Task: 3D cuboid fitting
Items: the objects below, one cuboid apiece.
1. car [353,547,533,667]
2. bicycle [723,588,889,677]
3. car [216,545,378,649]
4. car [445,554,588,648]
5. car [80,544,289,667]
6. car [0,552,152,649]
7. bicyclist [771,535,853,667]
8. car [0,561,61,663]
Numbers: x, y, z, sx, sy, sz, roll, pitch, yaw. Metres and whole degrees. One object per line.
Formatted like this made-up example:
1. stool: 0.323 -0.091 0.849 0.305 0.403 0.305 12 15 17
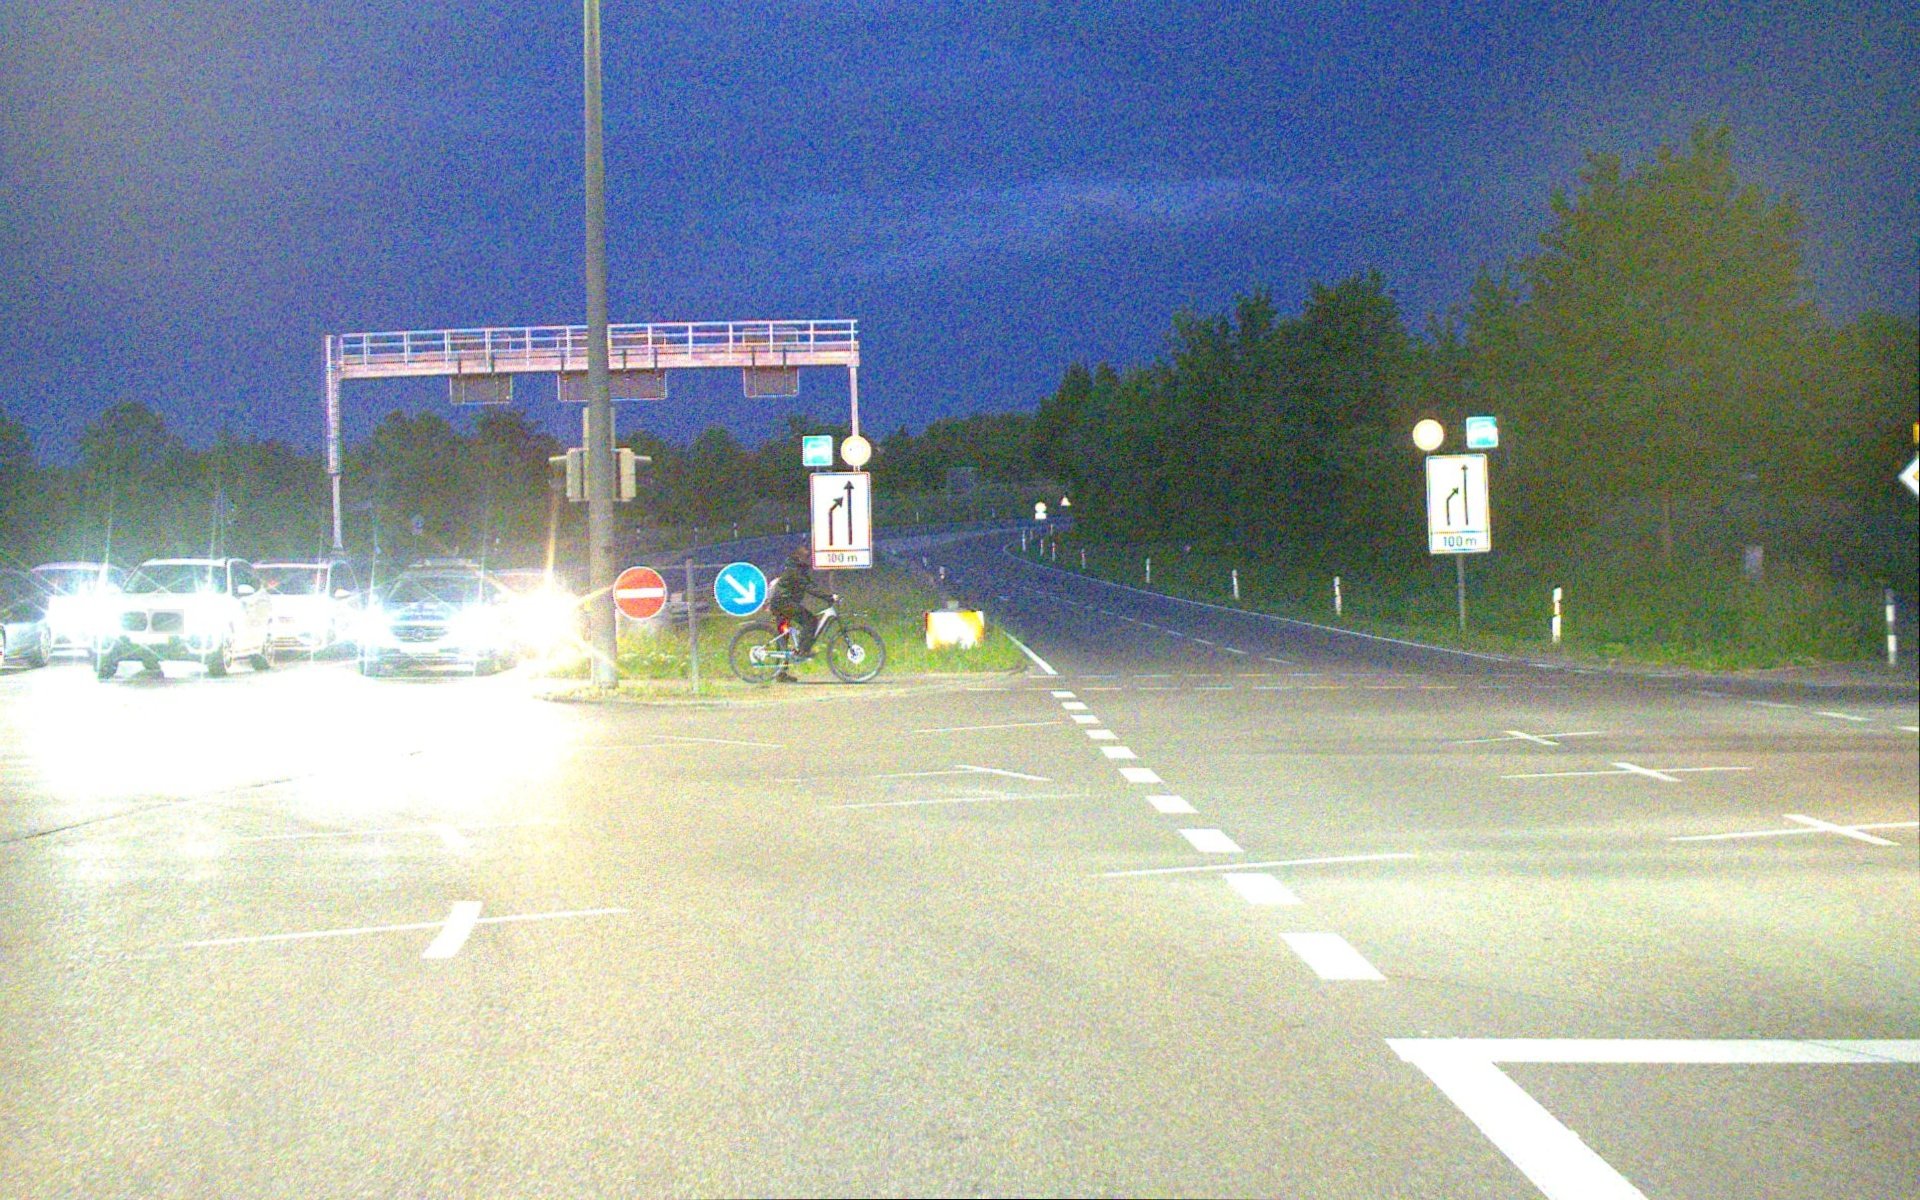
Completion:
1. car: -7.378 0.067 49.466 1.852 1.627 4.585 0 1 1
2. bicycle: -1.941 0.403 43.166 2.061 1.097 0.695 0 0 -5
3. car: -10.874 -0.076 56.639 1.745 1.621 4.363 0 1 1
4. car: -7.354 -0.008 57.308 1.773 1.476 3.910 1 1 2
5. car: -11.060 0.039 49.308 1.908 1.676 4.420 0 1 1
6. car: -14.746 -0.014 56.748 1.831 1.519 4.000 -1 1 0
7. bicyclist: -1.860 0.009 43.184 0.997 1.645 0.604 0 0 -5
8. car: -14.636 0.164 50.144 1.780 1.441 4.291 0 1 2
